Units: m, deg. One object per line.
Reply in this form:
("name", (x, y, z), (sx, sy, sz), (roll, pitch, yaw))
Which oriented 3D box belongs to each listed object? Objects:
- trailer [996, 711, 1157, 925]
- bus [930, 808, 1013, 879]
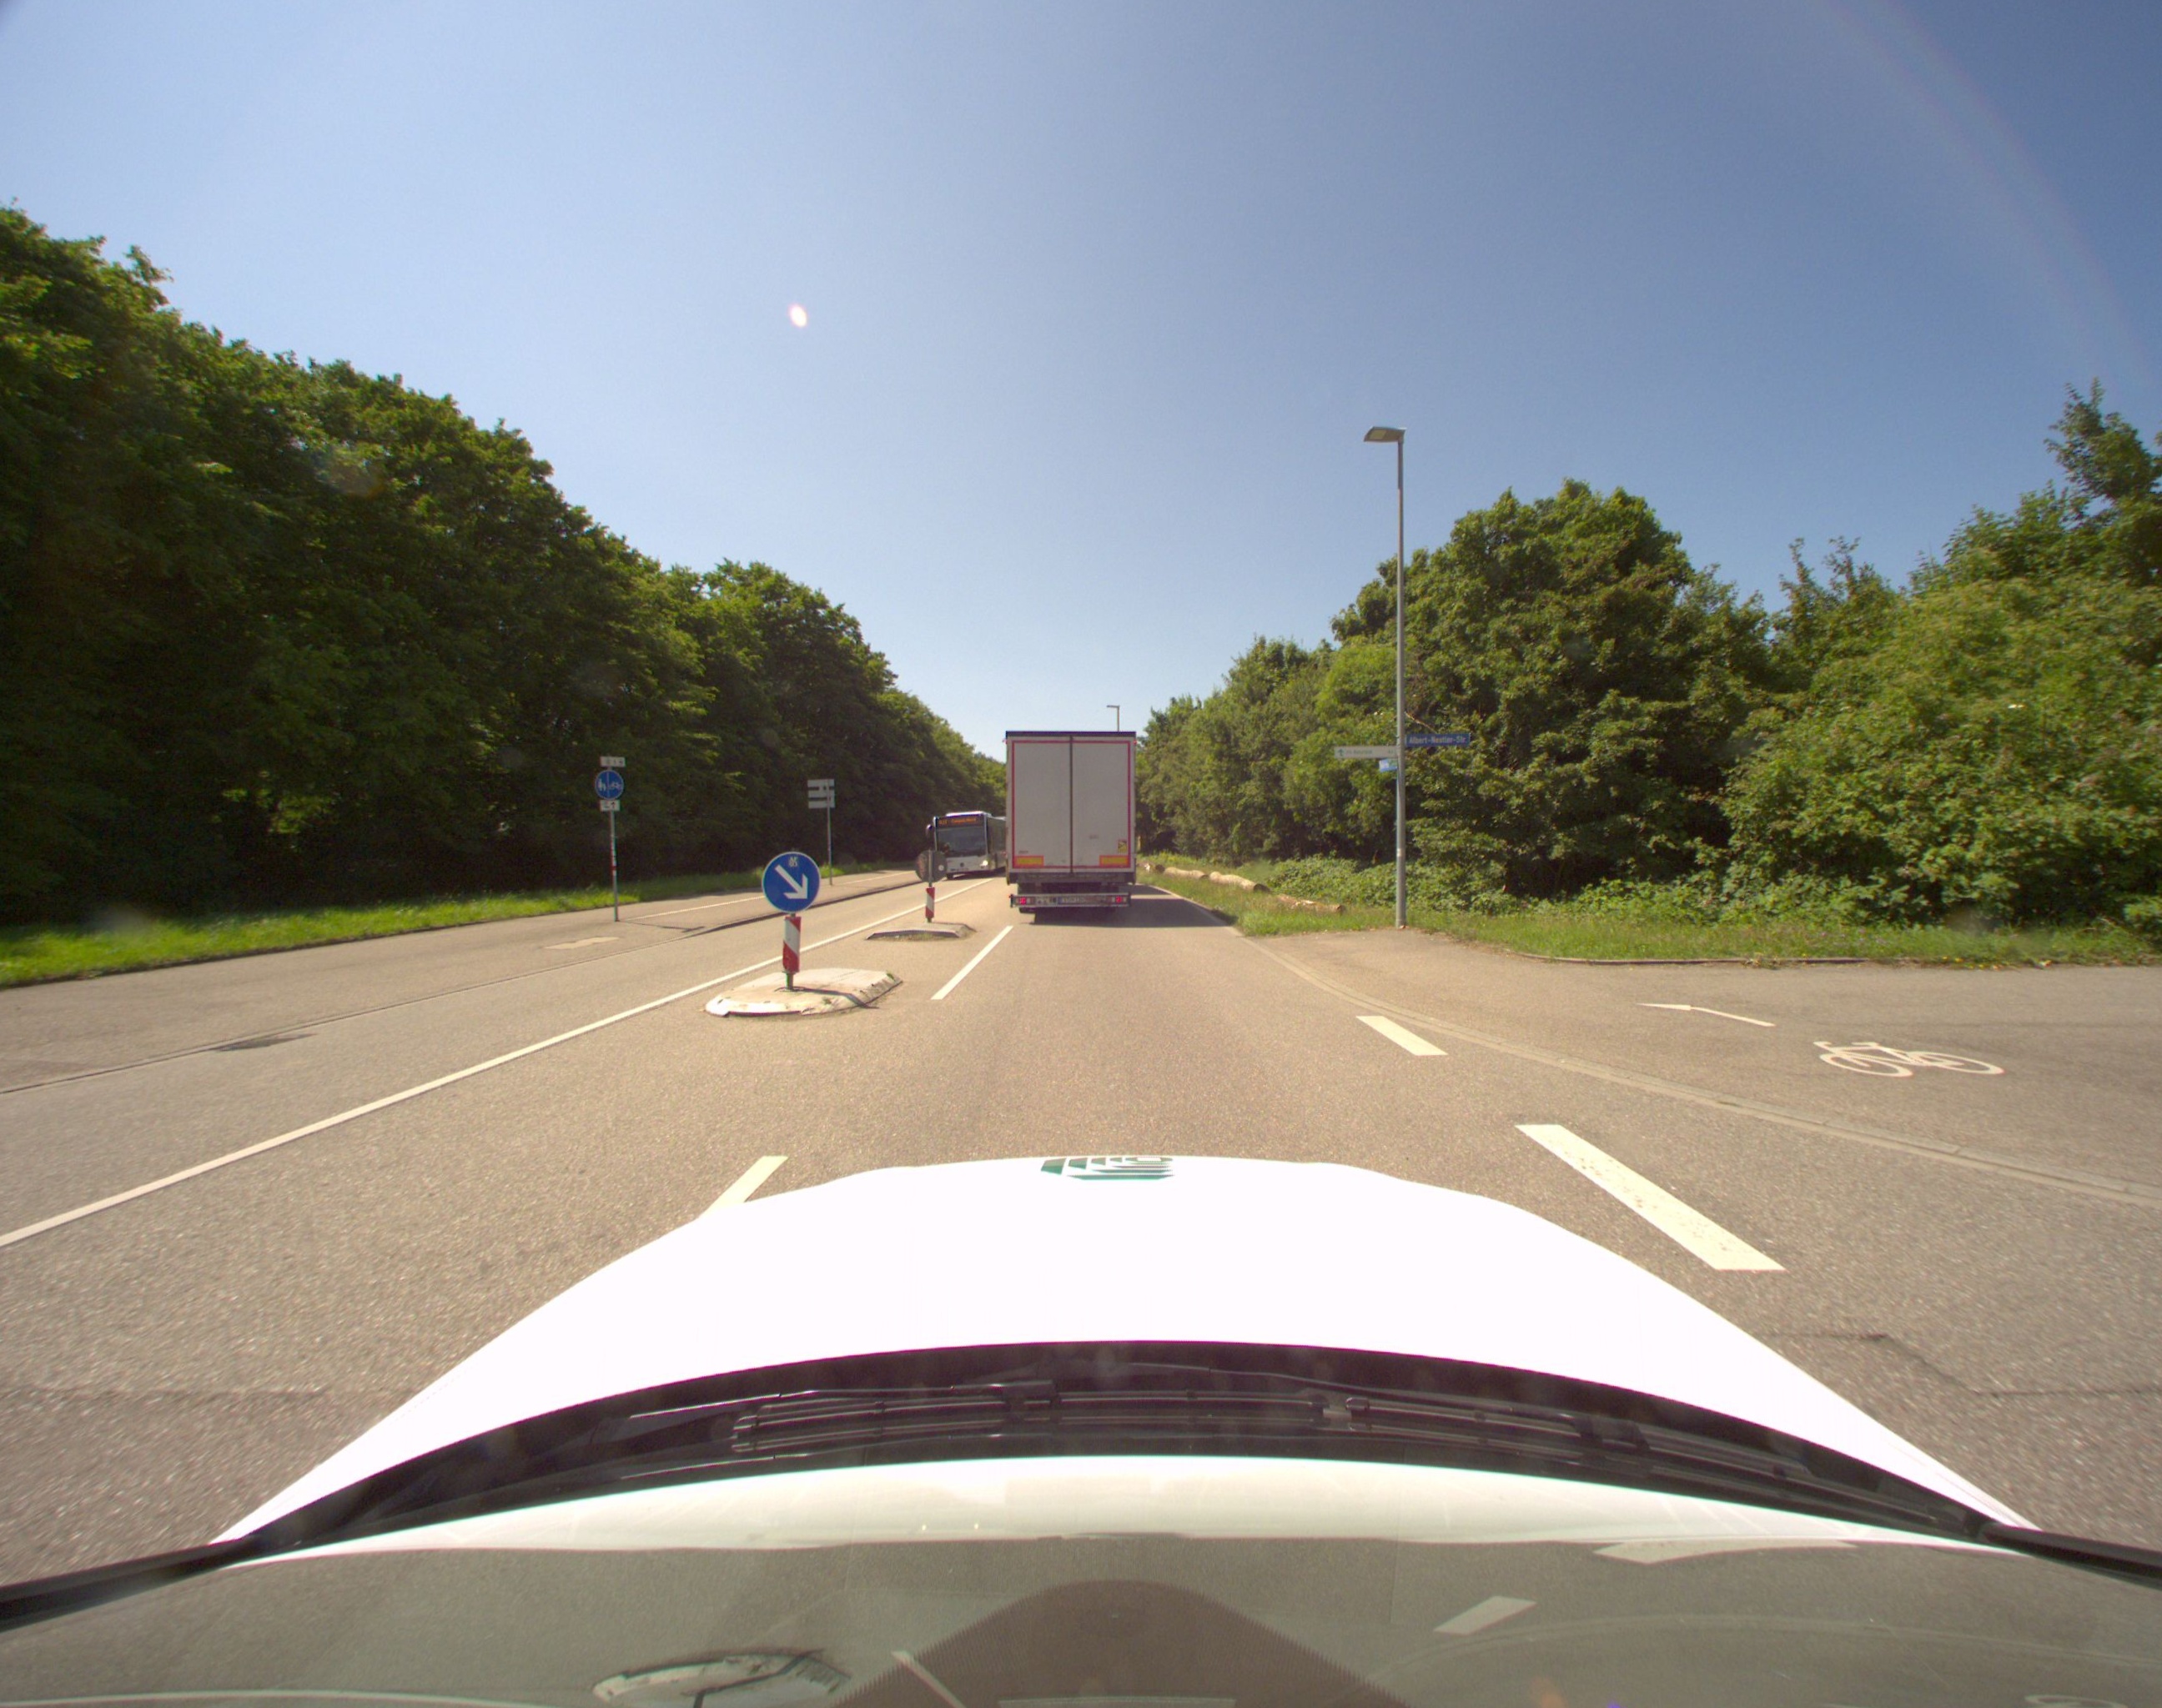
("trailer", (-0.293, -0.772, 20.526), (3.070, 4.069, 9.799), (0, 1, -3))
("bus", (-5.419, -0.565, 42.691), (2.741, 3.045, 11.934), (-3, 1, -1))
